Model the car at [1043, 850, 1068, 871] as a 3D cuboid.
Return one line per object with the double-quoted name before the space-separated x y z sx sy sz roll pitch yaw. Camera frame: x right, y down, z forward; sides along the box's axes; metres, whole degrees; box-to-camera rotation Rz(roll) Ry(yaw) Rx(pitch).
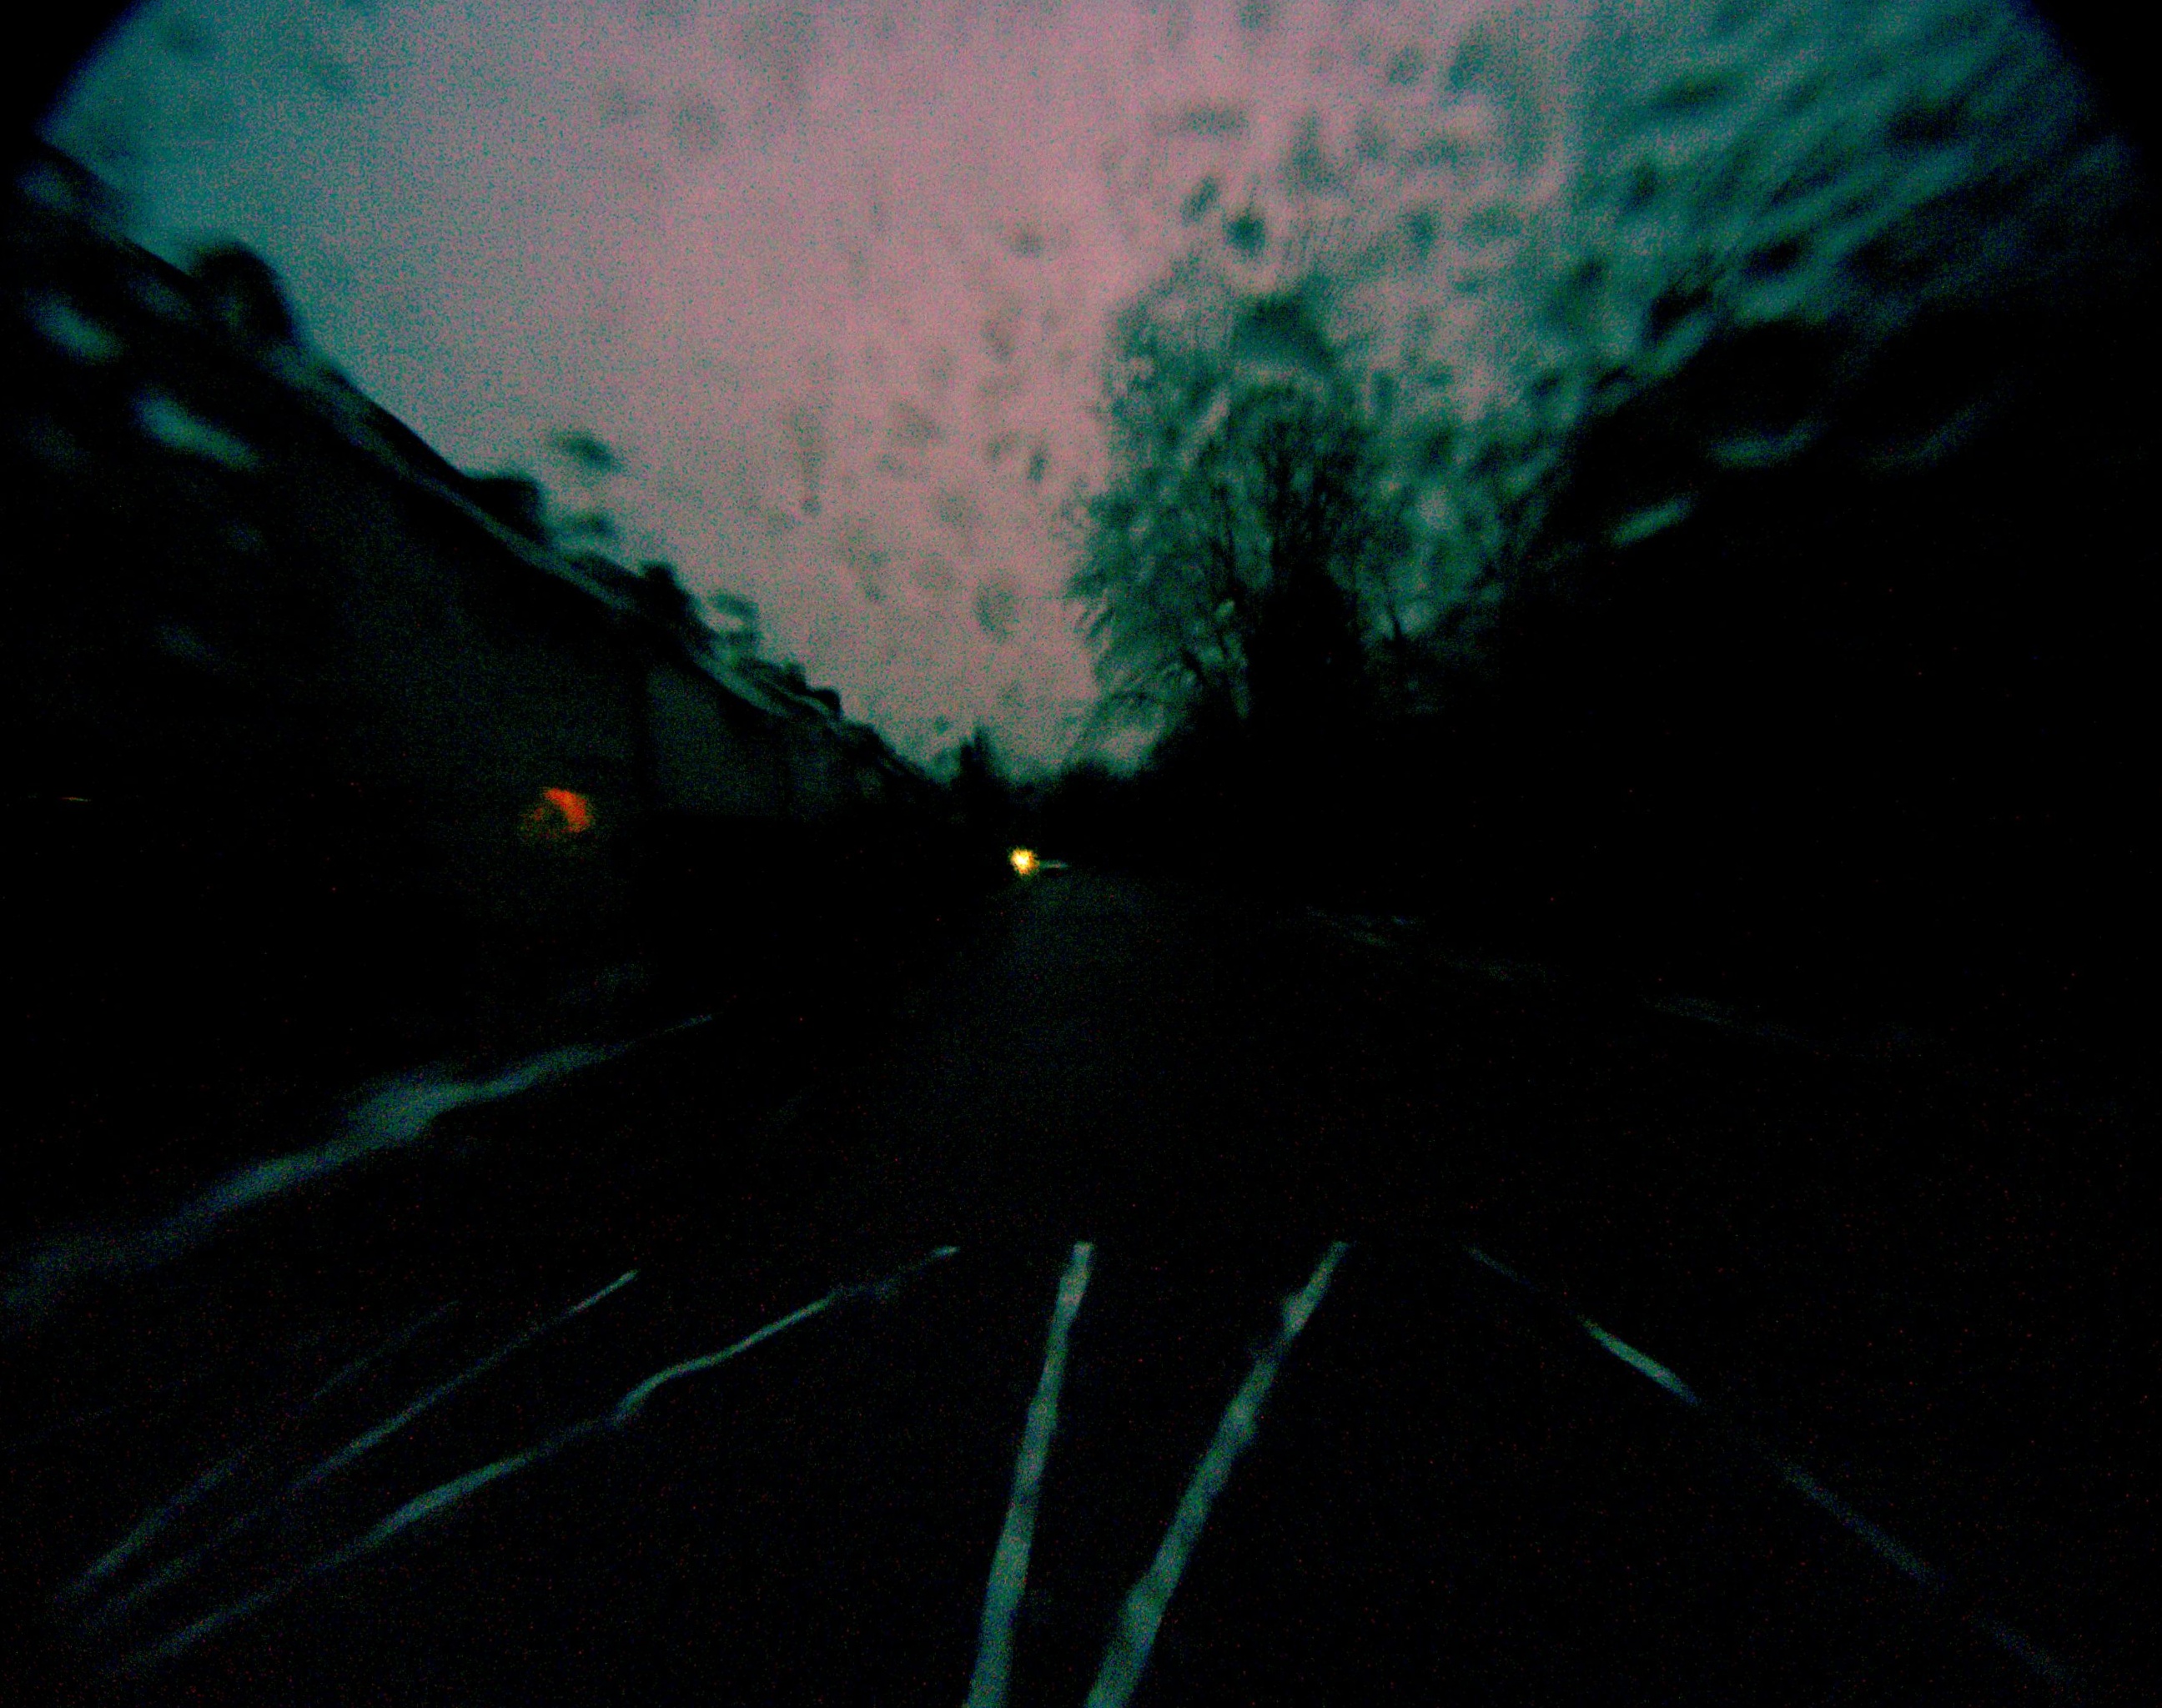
"car" -2.064 0.469 60.415 1.709 1.498 4.022 -3 1 -6
